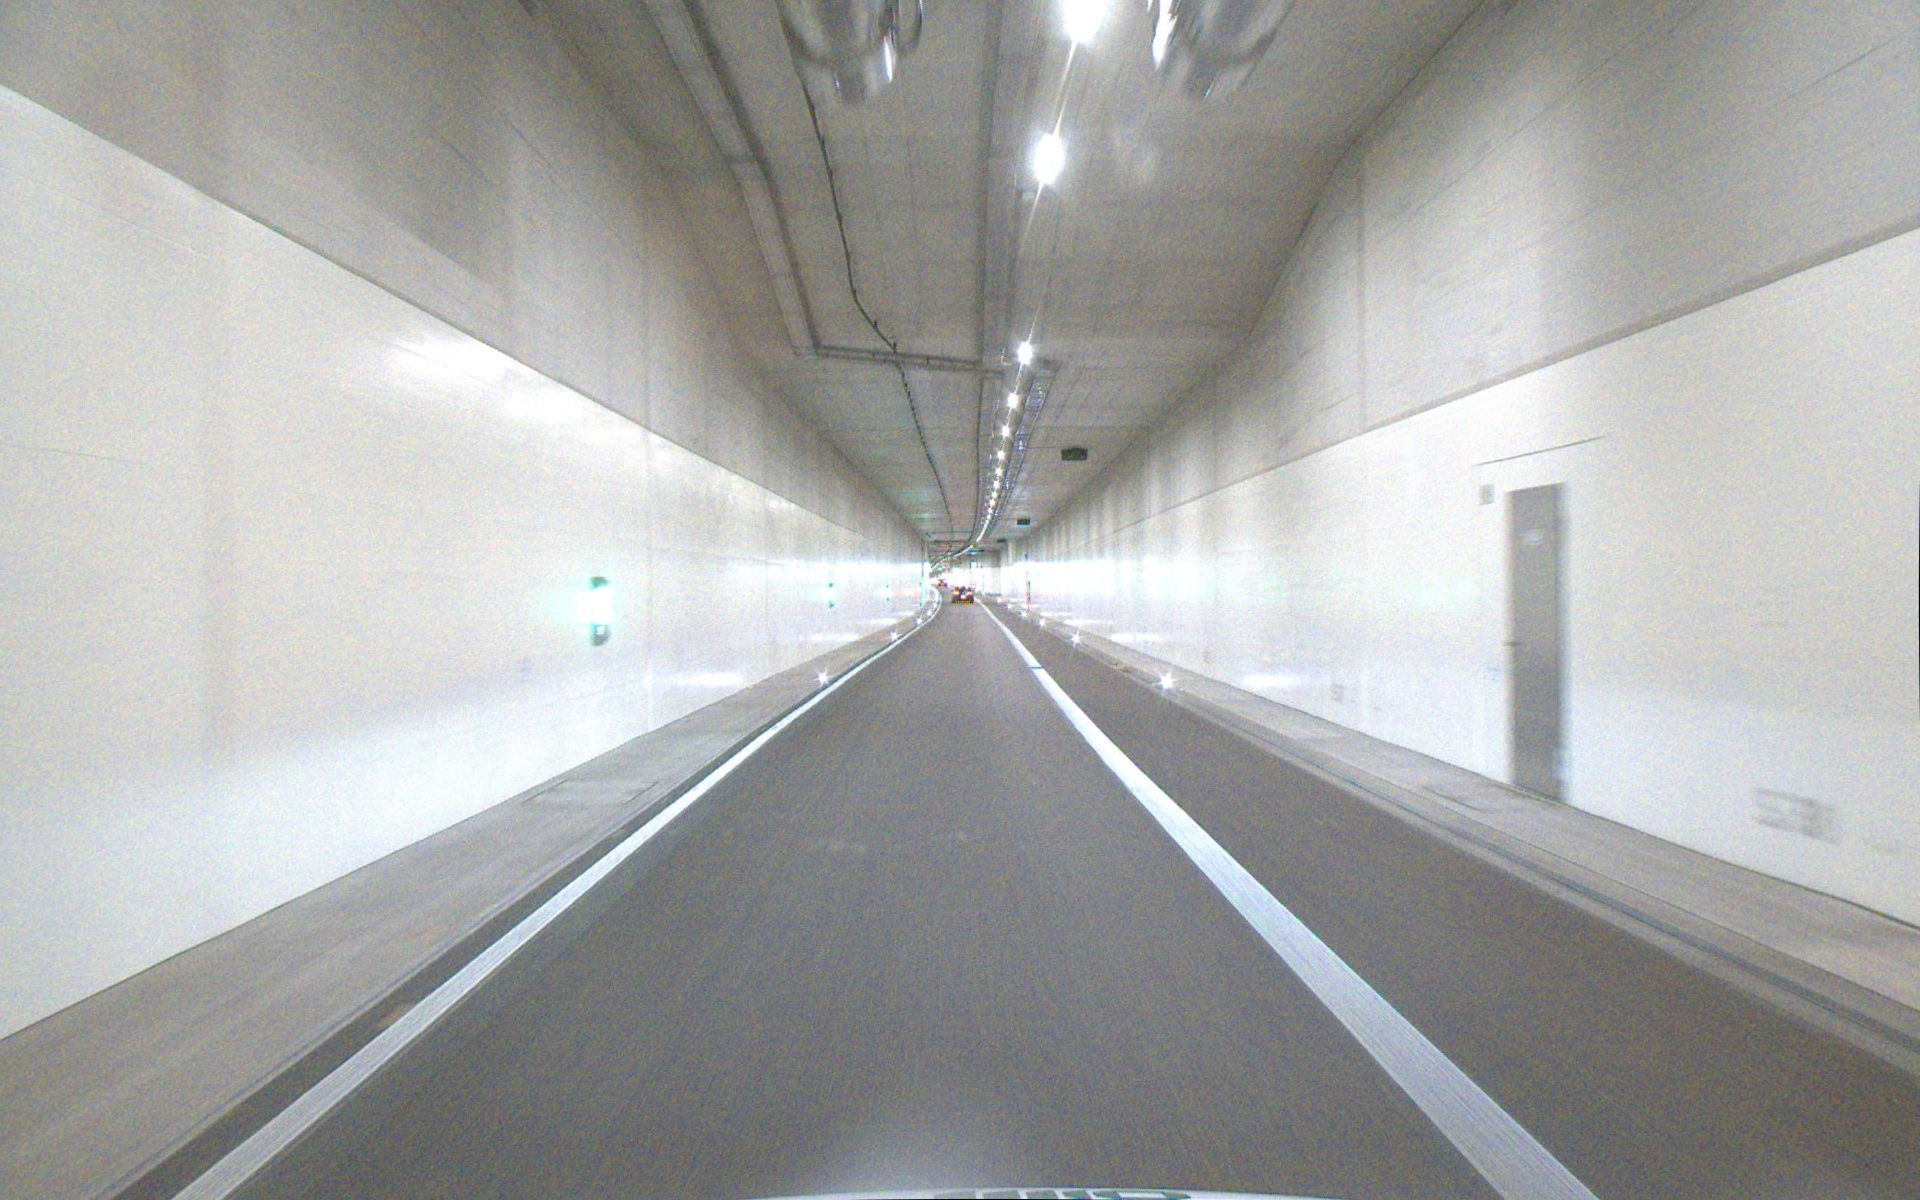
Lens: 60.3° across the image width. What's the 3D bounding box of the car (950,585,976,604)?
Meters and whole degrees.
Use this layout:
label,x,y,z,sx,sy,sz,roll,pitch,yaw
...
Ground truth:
label,x,y,z,sx,sy,sz,roll,pitch,yaw
car,0.253,-0.484,139.957,1.953,1.445,3.998,2,0,-2
